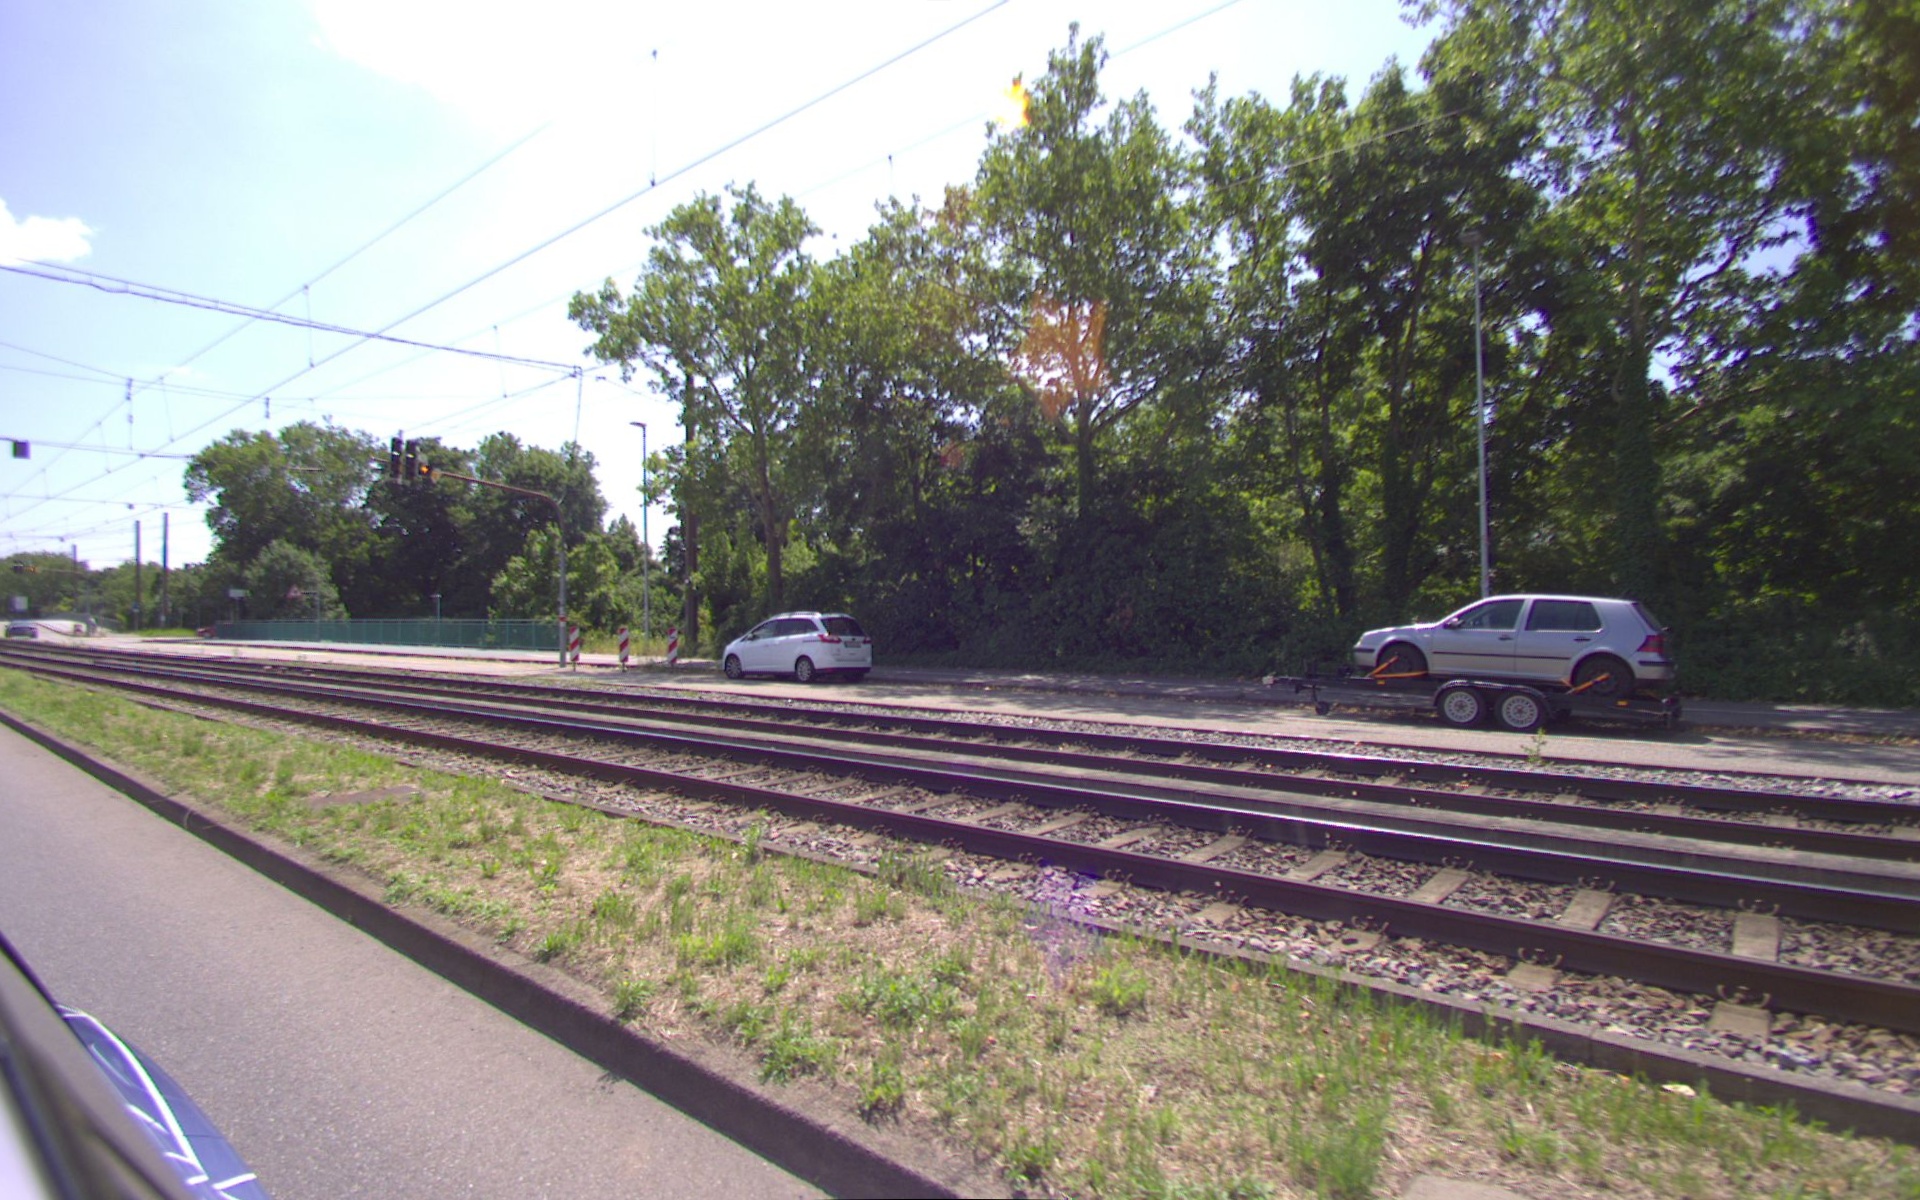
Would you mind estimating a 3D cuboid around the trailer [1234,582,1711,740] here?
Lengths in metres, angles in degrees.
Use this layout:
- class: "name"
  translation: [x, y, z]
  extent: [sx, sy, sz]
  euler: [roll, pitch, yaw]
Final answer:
- class: "trailer"
  translation: [7.390, 0.783, 14.988]
  extent: [5.952, 1.903, 2.439]
  euler: [-1, -1, 37]

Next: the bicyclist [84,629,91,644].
- class: "bicyclist"
  translation: [-84.771, 3.530, 98.323]
  extent: [0.633, 1.485, 0.451]
  euler: [-1, -1, 44]

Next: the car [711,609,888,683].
- class: "car"
  translation: [-4.046, 1.155, 25.074]
  extent: [4.612, 1.643, 1.702]
  euler: [-3, -1, 40]

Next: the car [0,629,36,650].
- class: "car"
  translation: [-81.057, 3.363, 86.983]
  extent: [5.327, 1.733, 1.856]
  euler: [-1, -1, 41]
